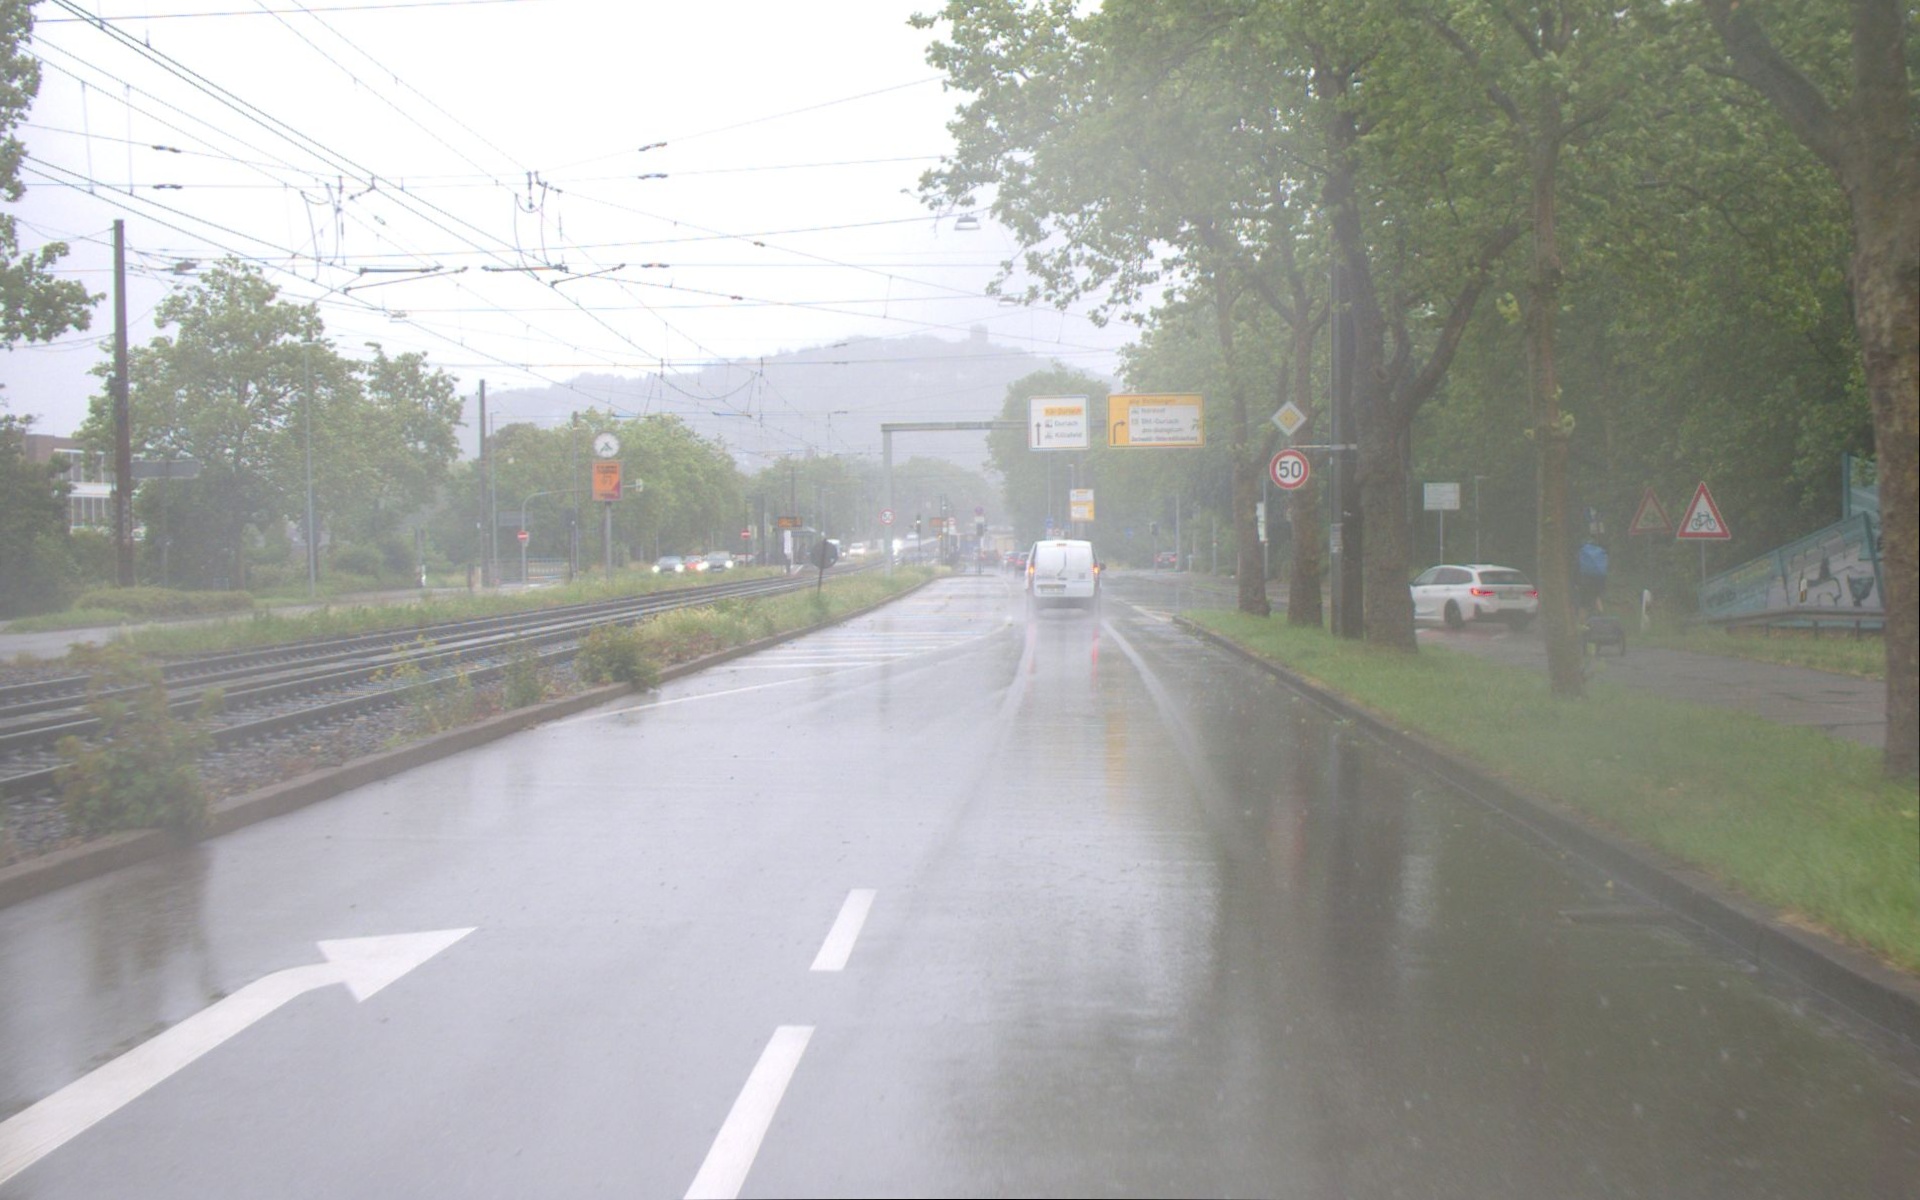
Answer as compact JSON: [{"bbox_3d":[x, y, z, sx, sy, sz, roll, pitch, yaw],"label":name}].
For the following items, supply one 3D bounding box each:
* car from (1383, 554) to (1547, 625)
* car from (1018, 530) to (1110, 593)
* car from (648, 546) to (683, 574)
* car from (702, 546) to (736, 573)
[{"bbox_3d":[11.306,-0.263,77.306,1.947,1.531,4.468,0,1,-17],"label":"car"},{"bbox_3d":[2.448,-0.913,81.655,2.077,1.415,4.000,-1,1,1],"label":"car"},{"bbox_3d":[-18.009,-2.439,210.305,1.943,1.680,4.781,-1,1,-2],"label":"car"},{"bbox_3d":[-14.782,-2.483,210.882,1.943,1.610,4.989,-1,1,-3],"label":"car"}]
